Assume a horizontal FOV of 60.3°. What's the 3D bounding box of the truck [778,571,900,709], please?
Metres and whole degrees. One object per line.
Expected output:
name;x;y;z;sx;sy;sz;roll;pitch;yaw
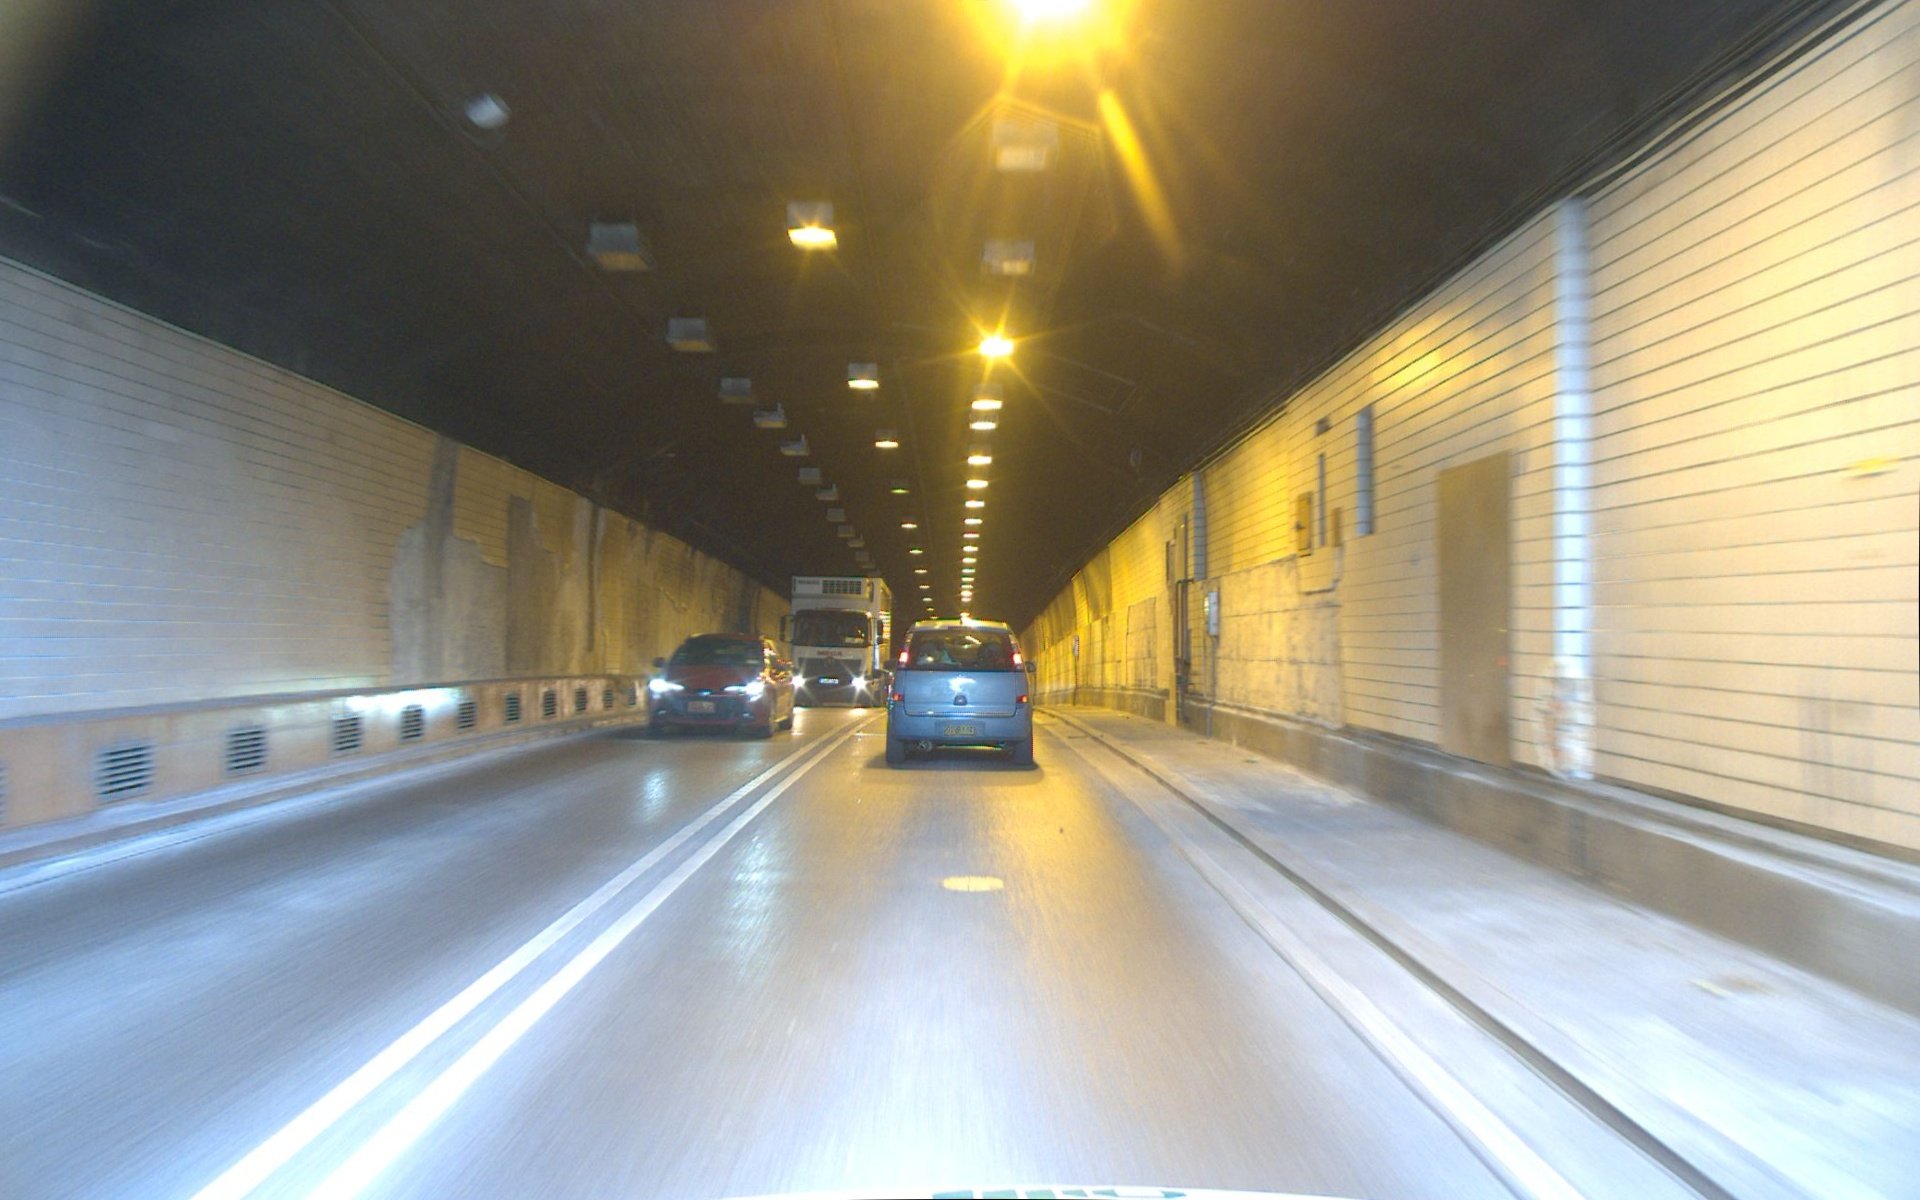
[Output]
truck;-3.449;1.292;49.122;2.755;3.782;7.546;0;-3;2

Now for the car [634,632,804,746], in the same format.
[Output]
car;-3.429;1.262;24.268;1.854;1.495;4.159;1;-2;0

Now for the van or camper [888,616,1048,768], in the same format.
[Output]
van or camper;0.045;1.046;19.566;1.700;1.606;3.644;1;-2;-1
